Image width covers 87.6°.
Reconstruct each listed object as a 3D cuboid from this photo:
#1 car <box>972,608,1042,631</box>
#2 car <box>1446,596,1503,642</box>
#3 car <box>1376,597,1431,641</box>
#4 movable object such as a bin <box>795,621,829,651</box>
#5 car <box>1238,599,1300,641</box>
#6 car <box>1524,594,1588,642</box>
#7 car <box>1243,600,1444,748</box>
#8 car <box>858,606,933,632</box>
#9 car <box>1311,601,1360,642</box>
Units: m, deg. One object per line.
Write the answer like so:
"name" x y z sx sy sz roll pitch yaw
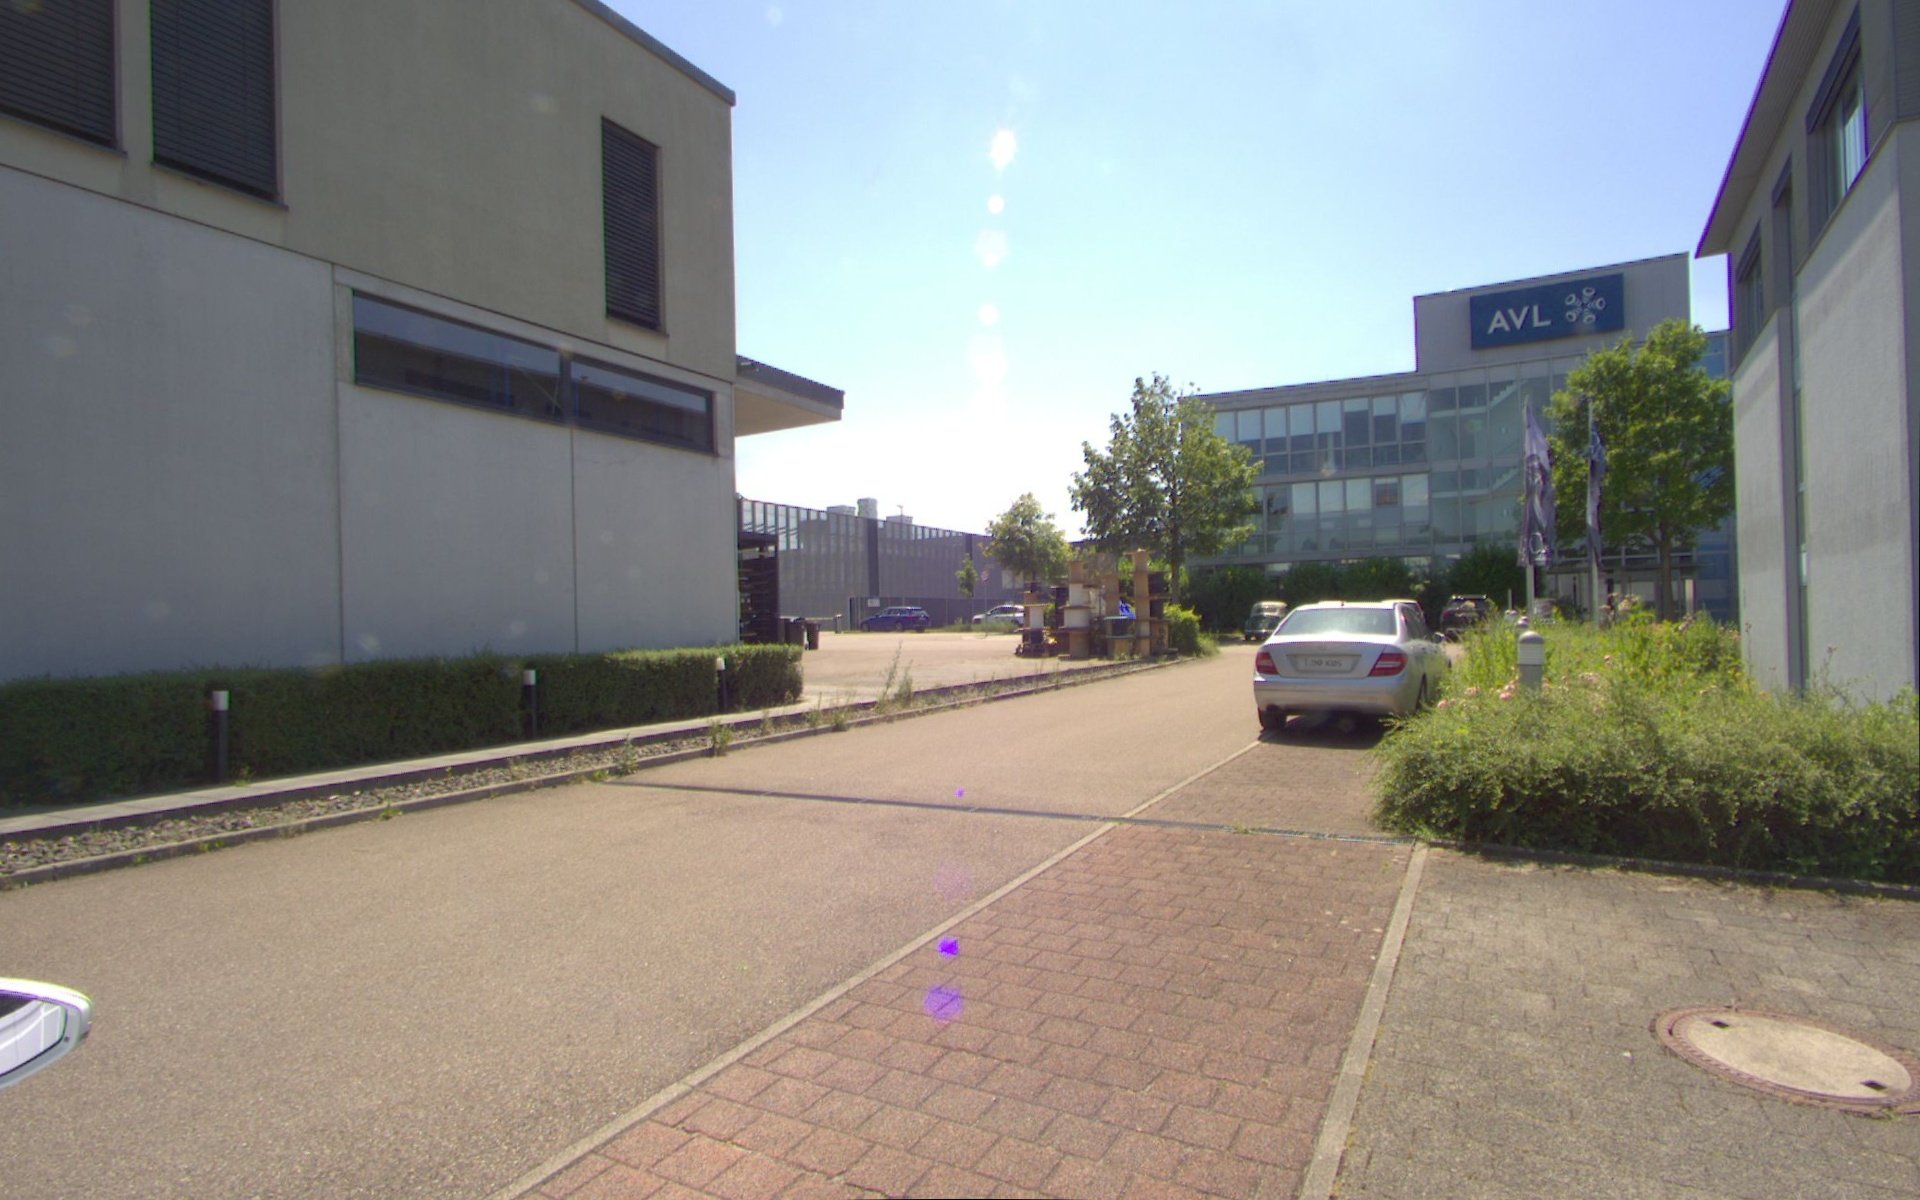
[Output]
"car" 2.973 1.247 63.998 4.399 1.433 1.735 -1 -2 42
"car" 18.393 0.682 35.749 1.723 1.538 3.984 -1 -1 28
"car" 16.470 0.717 37.327 1.720 1.538 3.991 -1 -1 21
"movable object such as a bin" -5.034 1.211 34.039 0.805 0.993 0.807 -1 -1 28
"car" 12.032 0.782 38.822 1.721 1.538 3.987 -1 -1 26
"car" 20.439 0.626 34.456 1.723 1.538 3.984 -1 -1 28
"car" 4.671 0.770 11.887 1.704 1.455 3.701 -1 -1 29
"car" -3.702 1.085 56.822 4.400 1.433 1.735 -1 -2 43
"car" 14.187 0.817 37.810 1.646 1.459 3.991 -1 -1 21
